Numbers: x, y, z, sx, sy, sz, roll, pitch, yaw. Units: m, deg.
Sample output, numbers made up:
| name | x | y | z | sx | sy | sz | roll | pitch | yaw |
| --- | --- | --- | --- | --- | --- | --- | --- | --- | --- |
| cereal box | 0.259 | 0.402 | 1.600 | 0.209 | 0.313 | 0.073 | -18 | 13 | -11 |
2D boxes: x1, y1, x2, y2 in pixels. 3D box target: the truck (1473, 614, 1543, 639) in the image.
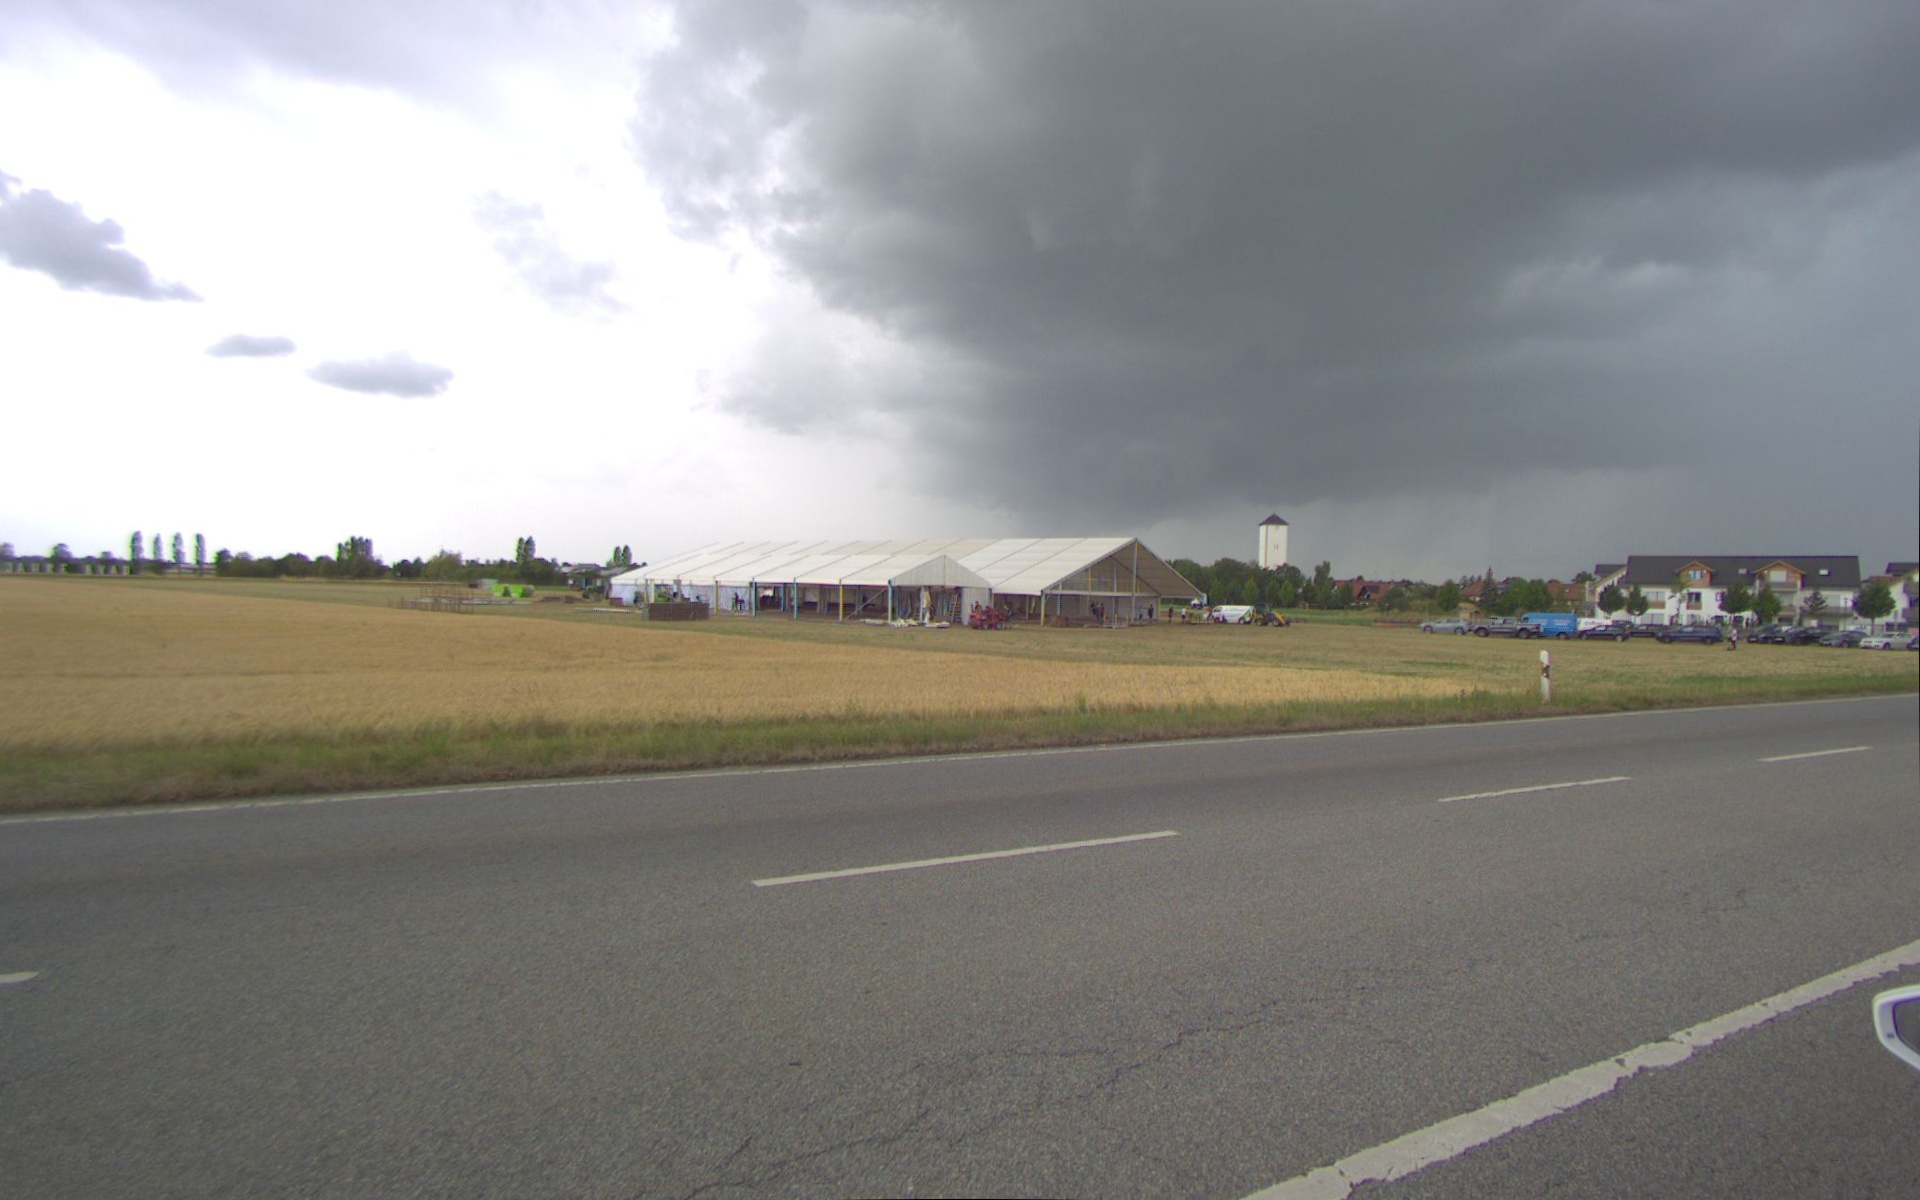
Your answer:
| name | x | y | z | sx | sy | sz | roll | pitch | yaw |
| --- | --- | --- | --- | --- | --- | --- | --- | --- | --- |
| truck | 47.527 | 2.266 | 87.173 | 5.155 | 1.946 | 2.106 | 1 | 0 | 34 |

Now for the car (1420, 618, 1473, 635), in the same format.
| name | x | y | z | sx | sy | sz | roll | pitch | yaw |
| --- | --- | --- | --- | --- | --- | --- | --- | --- | --- |
| car | 45.375 | 2.472 | 93.689 | 4.236 | 1.481 | 1.886 | 1 | 0 | 34 |

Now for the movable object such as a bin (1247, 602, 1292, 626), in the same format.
| name | x | y | z | sx | sy | sz | roll | pitch | yaw |
| --- | --- | --- | --- | --- | --- | --- | --- | --- | --- |
| movable object such as a bin | 31.007 | 1.437 | 100.692 | 3.928 | 2.273 | 1.881 | 1 | 0 | 32 |

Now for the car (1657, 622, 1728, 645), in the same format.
| name | x | y | z | sx | sy | sz | roll | pitch | yaw |
| --- | --- | --- | --- | --- | --- | --- | --- | --- | --- |
| car | 61.671 | 2.813 | 84.613 | 4.659 | 1.719 | 1.991 | 1 | 0 | 40 |

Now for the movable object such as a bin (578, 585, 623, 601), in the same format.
| name | x | y | z | sx | sy | sz | roll | pitch | yaw |
| --- | --- | --- | --- | --- | --- | --- | --- | --- | --- |
| movable object such as a bin | -50.733 | -0.935 | 141.849 | 2.528 | 2.040 | 5.387 | 2 | 0 | 41 |

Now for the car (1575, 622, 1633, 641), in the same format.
| name | x | y | z | sx | sy | sz | roll | pitch | yaw |
| --- | --- | --- | --- | --- | --- | --- | --- | --- | --- |
| car | 56.795 | 2.744 | 88.605 | 4.105 | 1.539 | 1.991 | 1 | 0 | 40 |

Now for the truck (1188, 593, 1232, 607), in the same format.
| name | x | y | z | sx | sy | sz | roll | pitch | yaw |
| --- | --- | --- | --- | --- | --- | --- | --- | --- | --- |
| truck | 50.257 | -0.052 | 202.493 | 3.259 | 2.563 | 9.307 | 2 | 0 | -28 |

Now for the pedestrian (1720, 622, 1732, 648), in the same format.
| name | x | y | z | sx | sy | sz | roll | pitch | yaw |
| --- | --- | --- | --- | --- | --- | --- | --- | --- | --- |
| pedestrian | 54.928 | 2.508 | 72.019 | 0.673 | 1.809 | 0.543 | 1 | 0 | -42 |

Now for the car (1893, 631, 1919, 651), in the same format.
| name | x | y | z | sx | sy | sz | roll | pitch | yaw |
| --- | --- | --- | --- | --- | --- | --- | --- | --- | --- |
| car | 73.657 | 3.124 | 76.356 | 4.138 | 1.465 | 1.995 | 1 | 0 | -12 |

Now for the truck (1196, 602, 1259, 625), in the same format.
| name | x | y | z | sx | sy | sz | roll | pitch | yaw |
| --- | --- | --- | --- | --- | --- | --- | --- | --- | --- |
| truck | 28.431 | 1.416 | 106.761 | 5.960 | 2.246 | 2.713 | 1 | 0 | 33 |

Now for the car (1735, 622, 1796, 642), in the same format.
| name | x | y | z | sx | sy | sz | roll | pitch | yaw |
| --- | --- | --- | --- | --- | --- | --- | --- | --- | --- |
| car | 70.940 | 2.831 | 88.489 | 4.138 | 1.650 | 1.995 | 1 | 0 | -12 |

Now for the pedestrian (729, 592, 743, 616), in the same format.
| name | x | y | z | sx | sy | sz | roll | pitch | yaw |
| --- | --- | --- | --- | --- | --- | --- | --- | --- | --- |
| pedestrian | -19.185 | 0.318 | 85.900 | 1.006 | 2.040 | 0.806 | 2 | 0 | -5 |

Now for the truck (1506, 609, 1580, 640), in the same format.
| name | x | y | z | sx | sy | sz | roll | pitch | yaw |
| --- | --- | --- | --- | --- | --- | --- | --- | --- | --- |
| truck | 51.441 | 2.160 | 88.736 | 5.379 | 2.478 | 2.385 | 1 | 0 | 37 |

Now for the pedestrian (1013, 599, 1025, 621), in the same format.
| name | x | y | z | sx | sy | sz | roll | pitch | yaw |
| --- | --- | --- | --- | --- | --- | --- | --- | --- | --- |
| pedestrian | 5.511 | 0.909 | 93.909 | 0.755 | 2.040 | 0.875 | 2 | 0 | 32 |

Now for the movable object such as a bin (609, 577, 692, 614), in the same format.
| name | x | y | z | sx | sy | sz | roll | pitch | yaw |
| --- | --- | --- | --- | --- | --- | --- | --- | --- | --- |
| movable object such as a bin | -29.855 | -0.466 | 96.730 | 7.466 | 3.219 | 4.140 | 3 | 0 | 40 |

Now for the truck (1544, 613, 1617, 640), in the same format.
| name | x | y | z | sx | sy | sz | roll | pitch | yaw |
| --- | --- | --- | --- | --- | --- | --- | --- | --- | --- |
| truck | 57.482 | 2.436 | 93.101 | 5.494 | 2.226 | 2.597 | 1 | 0 | 37 |

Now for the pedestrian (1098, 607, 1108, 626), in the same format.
| name | x | y | z | sx | sy | sz | roll | pitch | yaw |
| --- | --- | --- | --- | --- | --- | --- | --- | --- | --- |
| pedestrian | 13.491 | 1.591 | 94.792 | 0.646 | 1.767 | 0.724 | 2 | 0 | 40 |

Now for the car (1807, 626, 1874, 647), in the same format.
| name | x | y | z | sx | sy | sz | roll | pitch | yaw |
| --- | --- | --- | --- | --- | --- | --- | --- | --- | --- |
| car | 71.580 | 2.982 | 81.682 | 4.138 | 1.556 | 1.995 | 1 | 0 | -12 |

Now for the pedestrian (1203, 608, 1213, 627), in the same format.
| name | x | y | z | sx | sy | sz | roll | pitch | yaw |
| --- | --- | --- | --- | --- | --- | --- | --- | --- | --- |
| pedestrian | 24.786 | 1.754 | 100.424 | 0.680 | 1.799 | 0.691 | 2 | 0 | 41 |

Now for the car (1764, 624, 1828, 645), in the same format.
| name | x | y | z | sx | sy | sz | roll | pitch | yaw |
| --- | --- | --- | --- | --- | --- | --- | --- | --- | --- |
| car | 70.461 | 2.930 | 84.663 | 4.138 | 1.650 | 1.995 | 1 | 0 | -12 |

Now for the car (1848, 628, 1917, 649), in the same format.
| name | x | y | z | sx | sy | sz | roll | pitch | yaw |
| --- | --- | --- | --- | --- | --- | --- | --- | --- | --- |
| car | 72.582 | 3.020 | 79.074 | 4.138 | 1.465 | 1.995 | 1 | 0 | -12 |

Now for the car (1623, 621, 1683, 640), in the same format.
| name | x | y | z | sx | sy | sz | roll | pitch | yaw |
| --- | --- | --- | --- | --- | --- | --- | --- | --- | --- |
| car | 67.440 | 2.938 | 97.762 | 4.570 | 1.719 | 1.991 | 1 | 0 | 40 |

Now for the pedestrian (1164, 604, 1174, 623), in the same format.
| name | x | y | z | sx | sy | sz | roll | pitch | yaw |
| --- | --- | --- | --- | --- | --- | --- | --- | --- | --- |
| pedestrian | 20.637 | 1.343 | 99.135 | 0.617 | 1.890 | 0.705 | 2 | 0 | 42 |

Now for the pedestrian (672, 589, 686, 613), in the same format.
| name | x | y | z | sx | sy | sz | roll | pitch | yaw |
| --- | --- | --- | --- | --- | --- | --- | --- | --- | --- |
| pedestrian | -24.711 | 0.077 | 88.327 | 1.010 | 2.040 | 0.802 | 2 | 0 | 41 |

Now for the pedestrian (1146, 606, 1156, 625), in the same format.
| name | x | y | z | sx | sy | sz | roll | pitch | yaw |
| --- | --- | --- | --- | --- | --- | --- | --- | --- | --- |
| pedestrian | 18.302 | 1.445 | 96.074 | 0.679 | 1.799 | 0.692 | 2 | 0 | -17 |

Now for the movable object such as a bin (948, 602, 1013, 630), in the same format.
| name | x | y | z | sx | sy | sz | roll | pitch | yaw |
| --- | --- | --- | --- | --- | --- | --- | --- | --- | --- |
| movable object such as a bin | 1.533 | 1.145 | 72.531 | 2.555 | 1.889 | 4.457 | 1 | 0 | 37 |

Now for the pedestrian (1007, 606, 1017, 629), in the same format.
| name | x | y | z | sx | sy | sz | roll | pitch | yaw |
| --- | --- | --- | --- | --- | --- | --- | --- | --- | --- |
| pedestrian | 3.776 | 1.264 | 73.032 | 0.537 | 1.649 | 0.550 | 2 | 0 | 34 |

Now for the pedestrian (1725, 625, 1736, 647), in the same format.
| name | x | y | z | sx | sy | sz | roll | pitch | yaw |
| --- | --- | --- | --- | --- | --- | --- | --- | --- | --- |
| pedestrian | 55.779 | 2.621 | 72.700 | 0.582 | 1.576 | 0.623 | 1 | 0 | 41 |

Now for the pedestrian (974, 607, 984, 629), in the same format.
| name | x | y | z | sx | sy | sz | roll | pitch | yaw |
| --- | --- | --- | --- | --- | --- | --- | --- | --- | --- |
| pedestrian | 1.461 | 1.385 | 76.126 | 0.463 | 1.649 | 0.581 | 2 | 0 | 39 |

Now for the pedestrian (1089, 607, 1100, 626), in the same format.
| name | x | y | z | sx | sy | sz | roll | pitch | yaw |
| --- | --- | --- | --- | --- | --- | --- | --- | --- | --- |
| pedestrian | 12.810 | 1.566 | 95.851 | 0.721 | 1.803 | 0.756 | 2 | 0 | 40 |
